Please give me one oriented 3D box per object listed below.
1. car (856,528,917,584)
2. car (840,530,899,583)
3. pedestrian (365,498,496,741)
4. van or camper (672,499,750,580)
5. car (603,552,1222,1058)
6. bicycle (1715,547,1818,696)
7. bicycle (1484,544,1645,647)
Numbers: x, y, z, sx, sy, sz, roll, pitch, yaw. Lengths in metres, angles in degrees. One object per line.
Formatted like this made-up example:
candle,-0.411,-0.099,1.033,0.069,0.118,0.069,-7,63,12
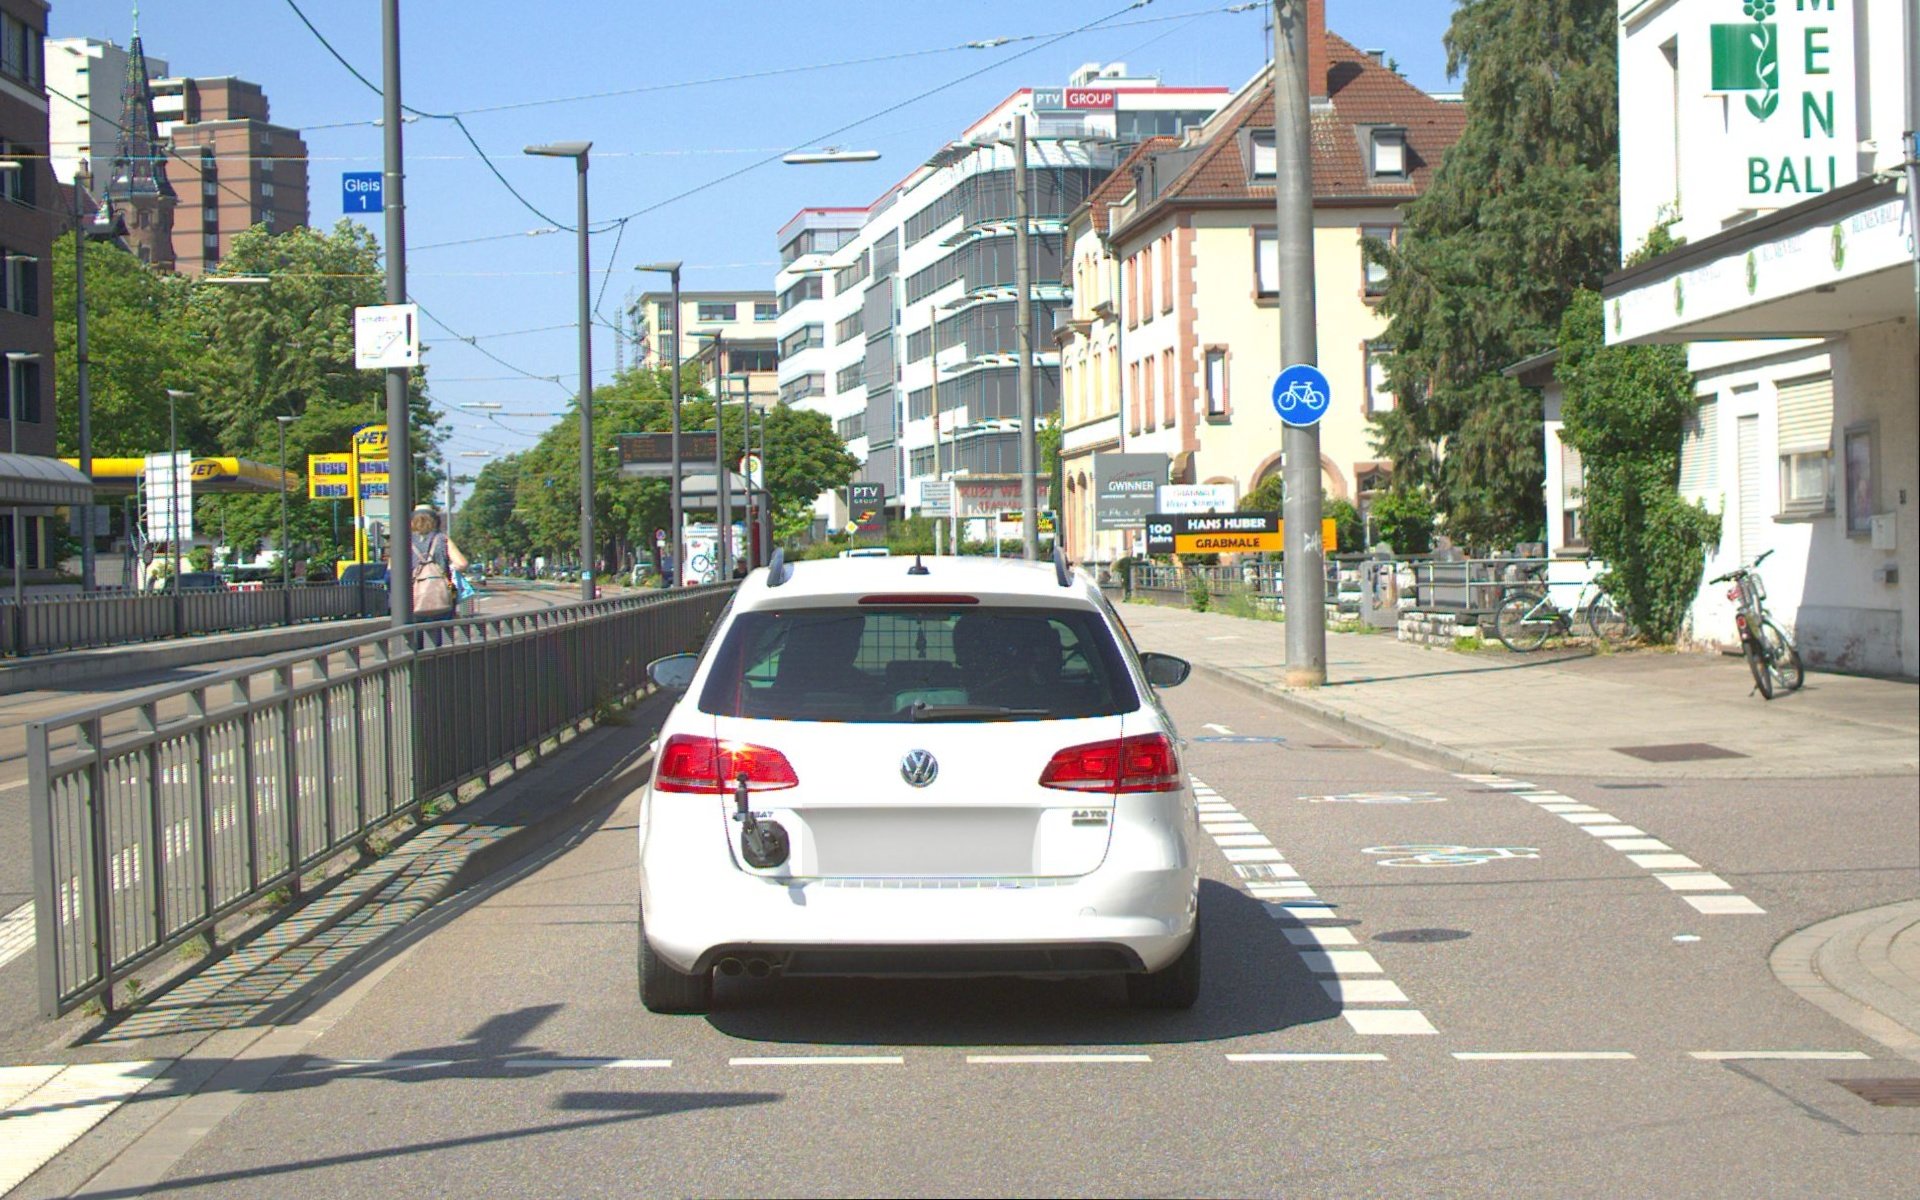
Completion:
car,-2.792,-1.672,129.797,1.993,2.007,4.001,-2,1,-5
car,-3.580,-1.732,135.209,1.993,2.007,4.001,-2,1,-5
pedestrian,-4.029,0.139,26.222,0.826,1.803,0.833,-2,1,0
van or camper,-10.235,-2.488,140.958,2.943,3.169,6.614,-2,1,-5
car,-0.162,0.562,11.756,1.752,1.413,3.853,1,1,-1
bicycle,6.544,0.155,27.959,0.726,1.135,2.194,-1,1,11
bicycle,6.889,-0.055,39.216,1.712,1.126,0.525,-2,1,1
